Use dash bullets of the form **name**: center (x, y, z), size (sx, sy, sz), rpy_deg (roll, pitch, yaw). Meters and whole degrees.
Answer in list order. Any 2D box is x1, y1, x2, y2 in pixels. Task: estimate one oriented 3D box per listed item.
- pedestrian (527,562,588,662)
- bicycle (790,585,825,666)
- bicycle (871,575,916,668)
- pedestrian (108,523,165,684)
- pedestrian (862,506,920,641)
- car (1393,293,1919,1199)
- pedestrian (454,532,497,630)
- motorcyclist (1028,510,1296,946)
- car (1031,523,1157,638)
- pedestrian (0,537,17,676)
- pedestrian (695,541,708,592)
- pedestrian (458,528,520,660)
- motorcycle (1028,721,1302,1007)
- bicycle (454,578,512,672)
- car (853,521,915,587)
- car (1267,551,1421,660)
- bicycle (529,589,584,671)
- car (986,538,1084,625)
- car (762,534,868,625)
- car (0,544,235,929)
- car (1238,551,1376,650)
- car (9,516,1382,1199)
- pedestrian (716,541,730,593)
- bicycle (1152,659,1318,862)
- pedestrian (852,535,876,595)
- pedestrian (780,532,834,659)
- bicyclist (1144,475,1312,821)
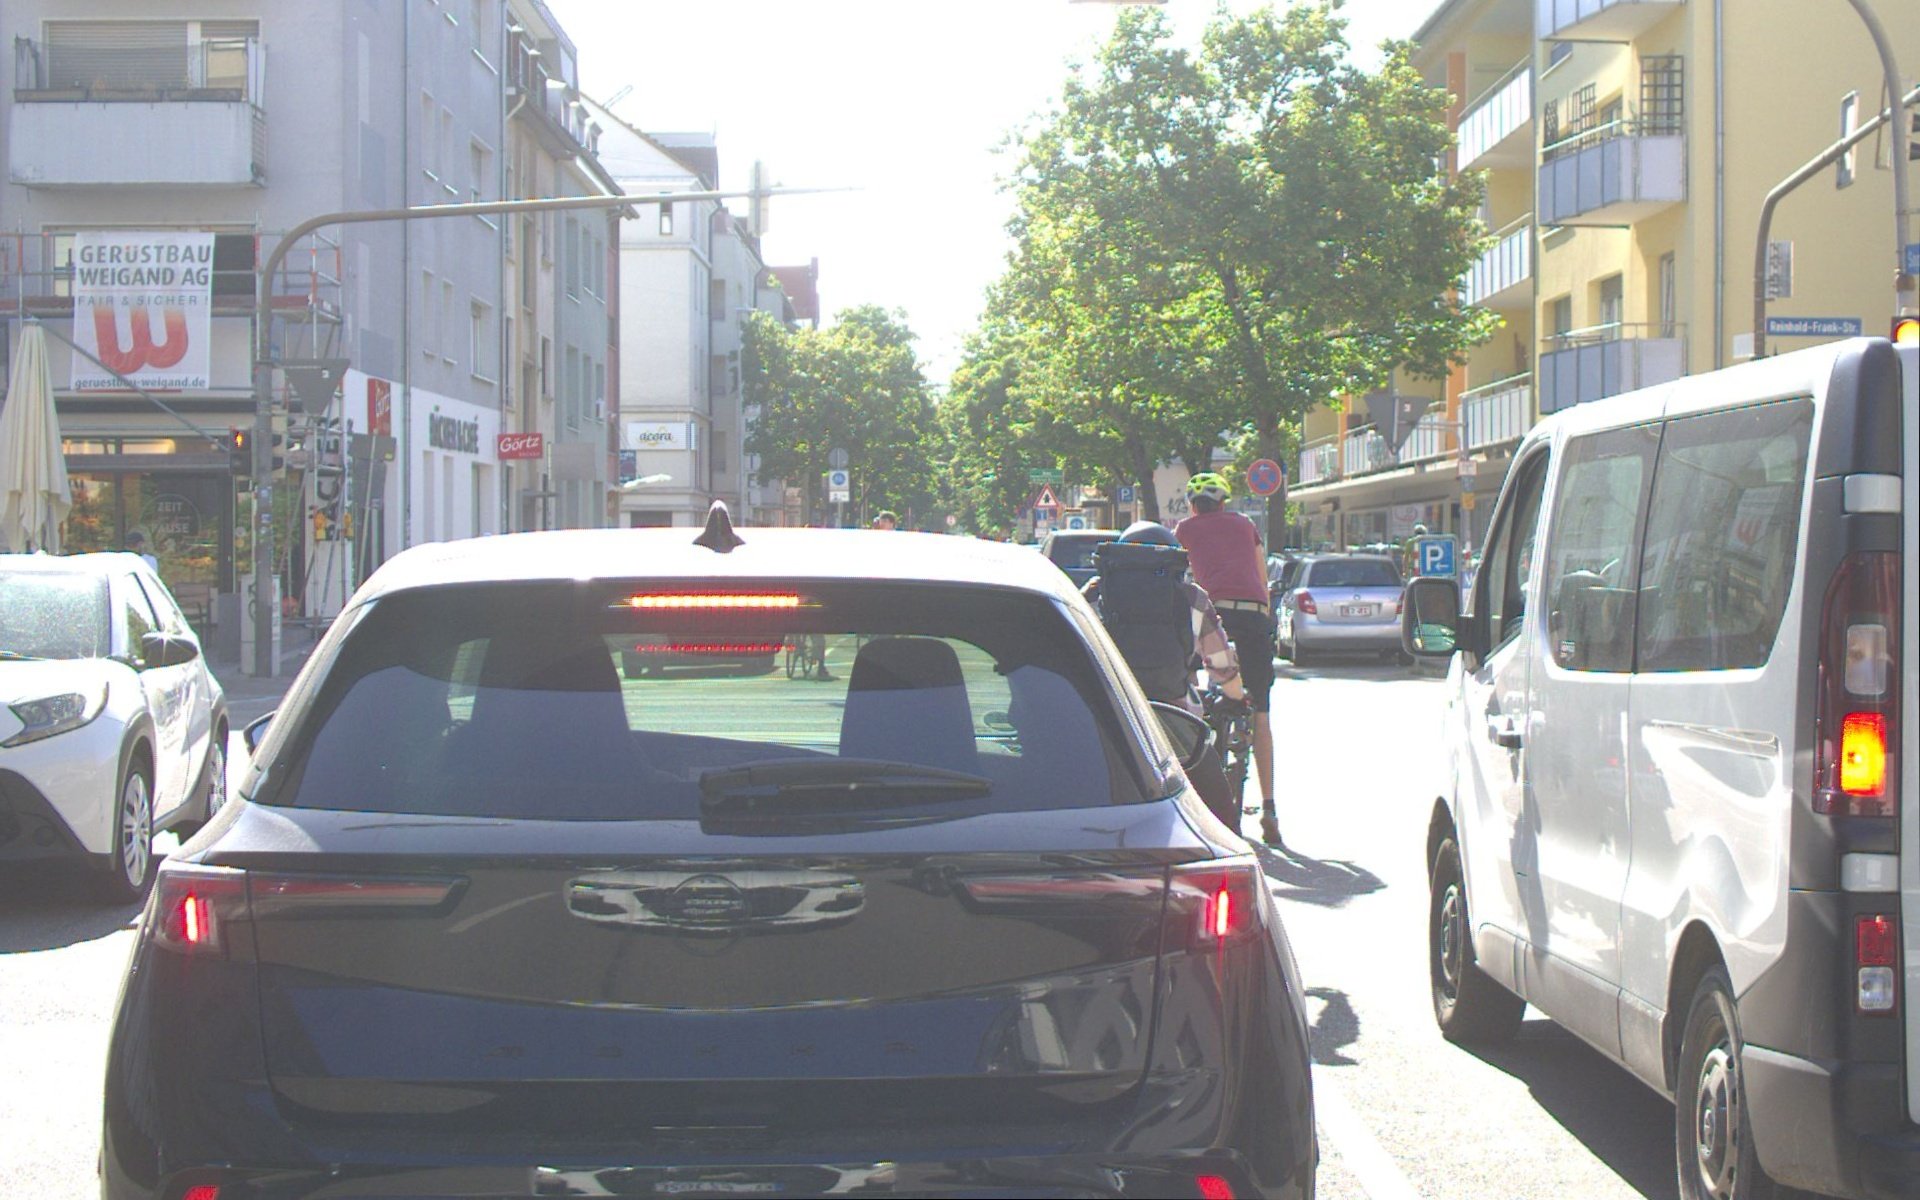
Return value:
- **pedestrian**: center (-5.103, 0.149, 43.625), size (0.706, 1.249, 0.802), rpy_deg (0, 1, -2)
- **bicycle**: center (-1.950, 0.313, 44.036), size (0.443, 0.989, 2.069), rpy_deg (0, 1, -2)
- **bicycle**: center (-0.854, 0.261, 43.966), size (0.521, 1.143, 2.170), rpy_deg (0, 1, -2)
- **pedestrian**: center (-9.143, 0.034, 38.195), size (0.561, 1.769, 0.584), rpy_deg (0, 1, -9)
- **pedestrian**: center (-0.882, -0.338, 43.720), size (0.706, 1.695, 0.802), rpy_deg (0, 1, -2)
- **car**: center (2.460, 0.428, 8.566), size (1.993, 1.972, 4.896), rpy_deg (2, 1, -1)
- **pedestrian**: center (-7.537, -0.297, 53.491), size (0.617, 1.516, 0.725), rpy_deg (0, 1, -3)
- **motorcyclist**: center (0.705, 0.432, 12.385), size (0.864, 1.497, 1.160), rpy_deg (0, 1, -2)
- **car**: center (2.067, -0.333, 53.931), size (1.902, 1.722, 4.073), rpy_deg (0, 1, 1)
- **pedestrian**: center (-10.677, 0.065, 37.595), size (0.584, 1.516, 0.650), rpy_deg (0, 1, -3)
- **pedestrian**: center (-8.336, -1.082, 111.009), size (0.402, 1.669, 0.418), rpy_deg (0, 1, -1)
- **pedestrian**: center (-5.996, -0.084, 43.829), size (0.706, 1.672, 0.802), rpy_deg (0, 1, -2)
- **motorcycle**: center (0.693, 0.902, 12.243), size (0.825, 0.842, 1.885), rpy_deg (0, 1, -1)
- **bicycle**: center (-6.095, 0.304, 43.998), size (0.521, 1.143, 2.284), rpy_deg (0, 1, -2)
- **car**: center (-2.329, -1.431, 105.945), size (1.855, 2.007, 3.881), rpy_deg (0, 1, -1)
- **car**: center (5.241, 0.047, 47.328), size (1.634, 1.428, 3.957), rpy_deg (0, 1, -1)
- **bicycle**: center (-5.164, 0.372, 44.061), size (0.521, 0.989, 2.340), rpy_deg (0, 1, -2)
- **car**: center (1.502, -0.397, 70.198), size (1.902, 1.722, 4.000), rpy_deg (0, 1, 0)
- **car**: center (-2.795, -0.424, 66.942), size (1.825, 1.722, 4.000), rpy_deg (0, 1, 1)
- **car**: center (-4.398, 0.523, 15.617), size (1.765, 1.531, 3.787), rpy_deg (-1, 1, -6)
- **car**: center (5.217, -0.021, 52.082), size (1.634, 1.428, 4.000), rpy_deg (0, 1, -1)
- **car**: center (-0.420, 0.621, 6.451), size (1.770, 1.525, 4.001), rpy_deg (0, 1, -2)
- **pedestrian**: center (-7.639, -1.057, 110.761), size (0.402, 1.669, 0.418), rpy_deg (0, 1, -1)
- **bicycle**: center (1.393, 0.793, 17.739), size (0.577, 0.901, 2.301), rpy_deg (0, 1, -2)
- **pedestrian**: center (-2.740, -1.001, 97.908), size (0.570, 1.684, 0.588), rpy_deg (0, 1, 11)
- **pedestrian**: center (-1.957, -0.065, 43.868), size (0.680, 1.600, 0.762), rpy_deg (0, 1, -2)
- **bicyclist**: center (1.361, 0.224, 17.676), size (0.689, 1.707, 1.414), rpy_deg (0, 1, -2)
